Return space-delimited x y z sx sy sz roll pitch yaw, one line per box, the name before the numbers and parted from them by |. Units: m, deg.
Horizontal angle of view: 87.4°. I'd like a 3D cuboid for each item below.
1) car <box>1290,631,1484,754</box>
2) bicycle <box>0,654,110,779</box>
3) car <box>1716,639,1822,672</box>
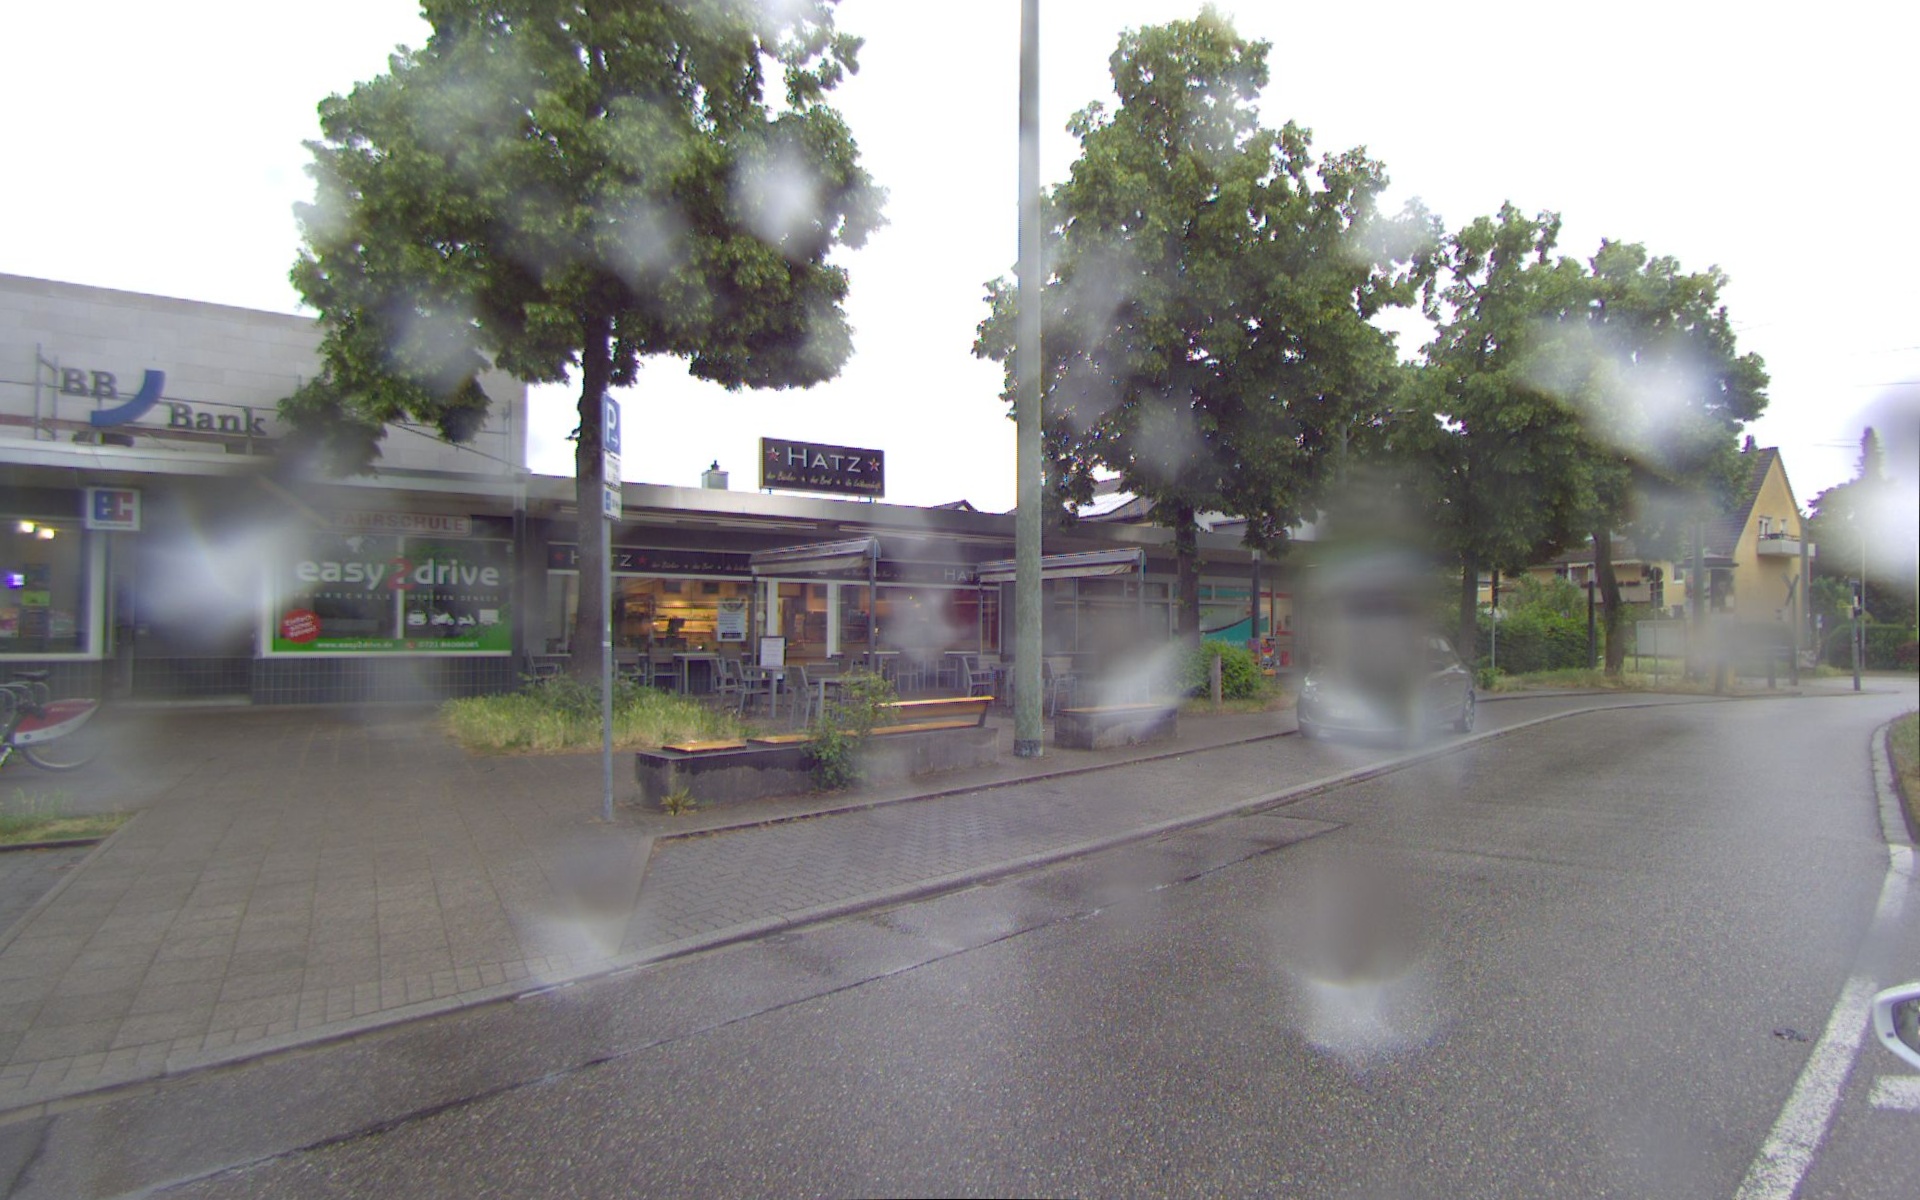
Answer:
car | 6.383 1.252 14.828 1.598 1.516 3.649 2 0 40
bicycle | -9.003 1.082 9.253 0.314 1.122 1.739 2 0 43
car | 41.970 2.859 52.180 1.815 1.476 3.960 2 0 -35
